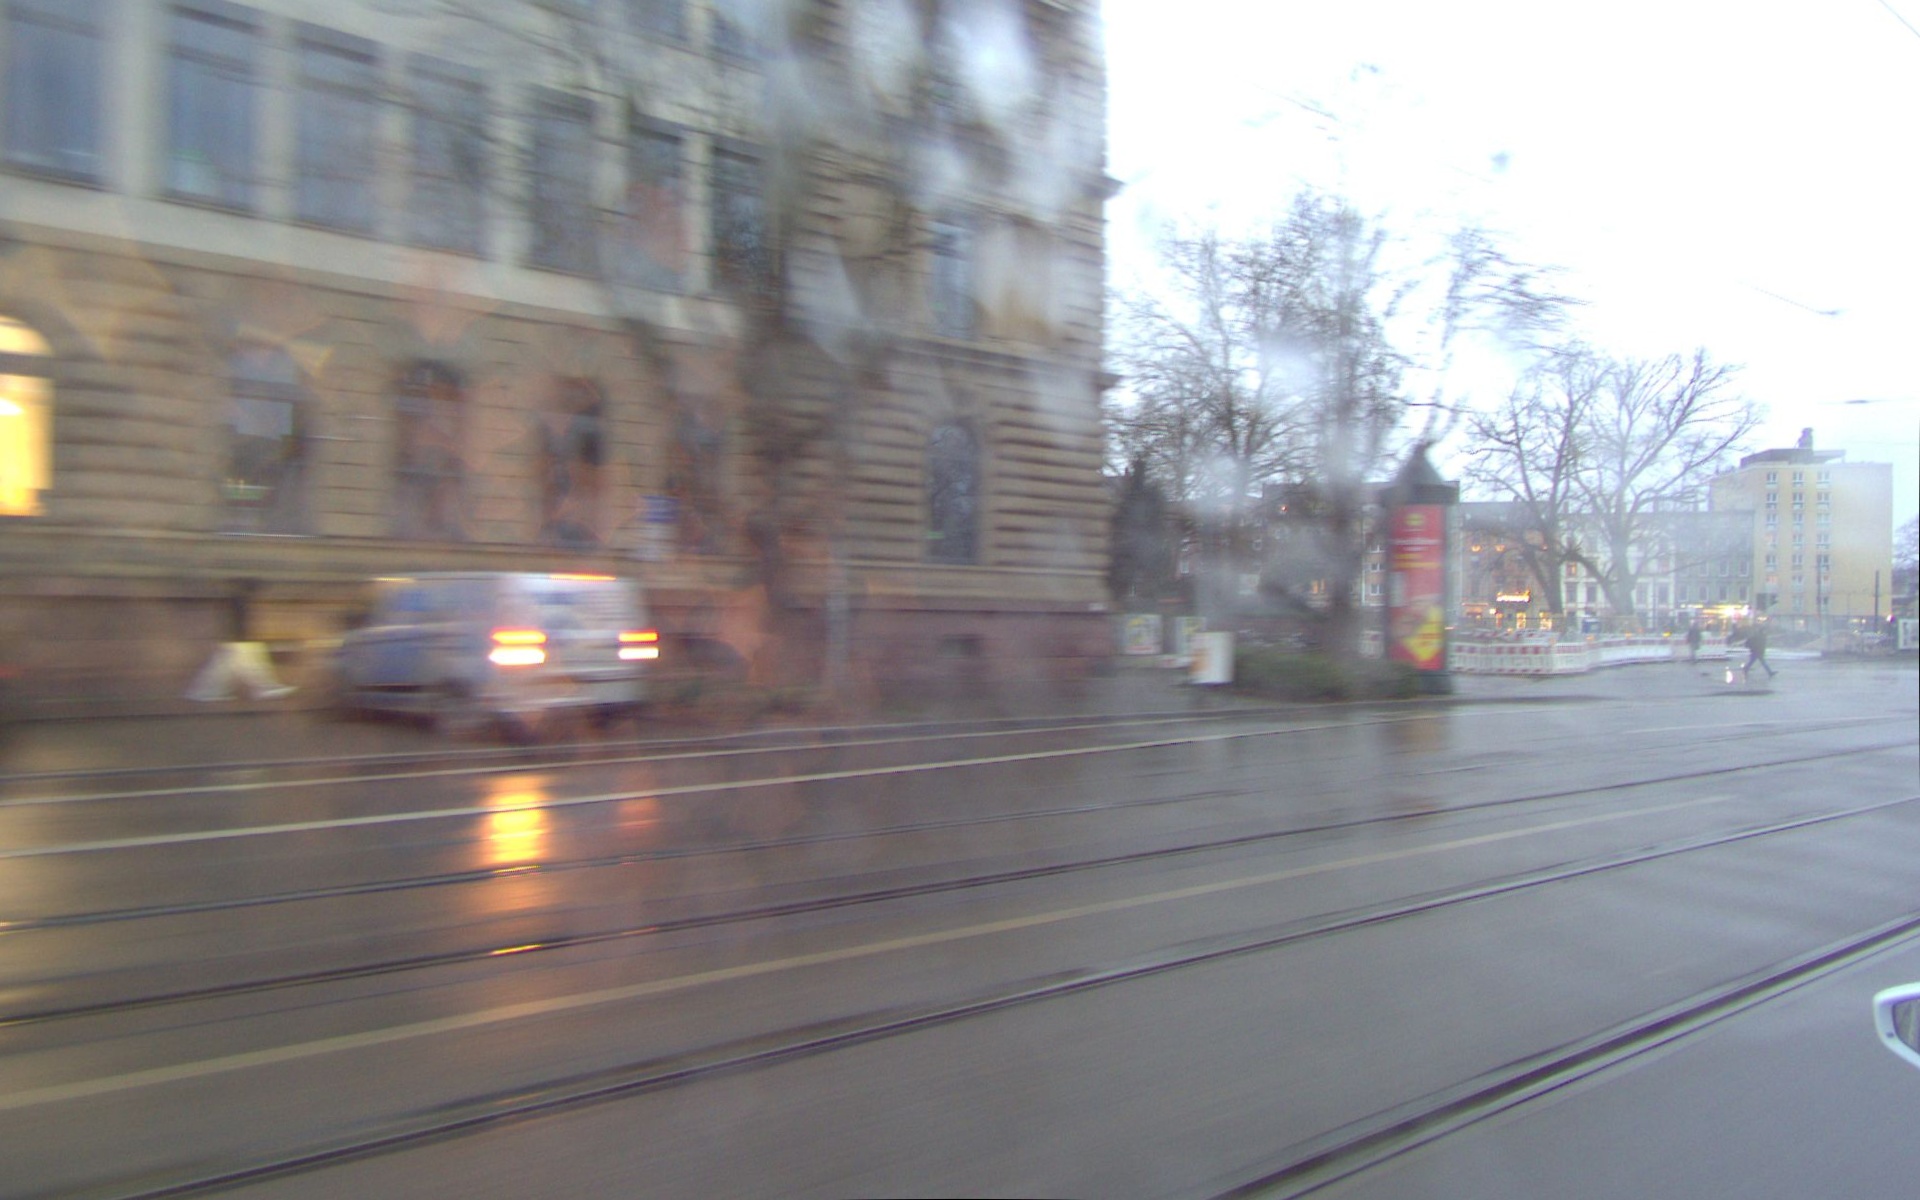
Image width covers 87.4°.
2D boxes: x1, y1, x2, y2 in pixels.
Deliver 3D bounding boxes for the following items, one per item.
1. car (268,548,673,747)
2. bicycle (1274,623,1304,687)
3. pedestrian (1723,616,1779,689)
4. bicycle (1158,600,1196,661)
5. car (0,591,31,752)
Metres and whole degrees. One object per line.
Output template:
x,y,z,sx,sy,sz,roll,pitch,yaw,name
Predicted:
-6.183,0.471,12.662,4.711,2.061,1.912,2,1,22,car
9.570,1.560,29.168,0.699,1.711,2.429,2,1,20,bicycle
27.196,1.781,34.559,1.043,2.402,0.997,2,1,0,pedestrian
6.430,0.866,29.664,0.699,1.711,2.429,2,1,20,bicycle
-11.138,0.587,9.990,4.401,1.477,1.795,3,1,34,car
